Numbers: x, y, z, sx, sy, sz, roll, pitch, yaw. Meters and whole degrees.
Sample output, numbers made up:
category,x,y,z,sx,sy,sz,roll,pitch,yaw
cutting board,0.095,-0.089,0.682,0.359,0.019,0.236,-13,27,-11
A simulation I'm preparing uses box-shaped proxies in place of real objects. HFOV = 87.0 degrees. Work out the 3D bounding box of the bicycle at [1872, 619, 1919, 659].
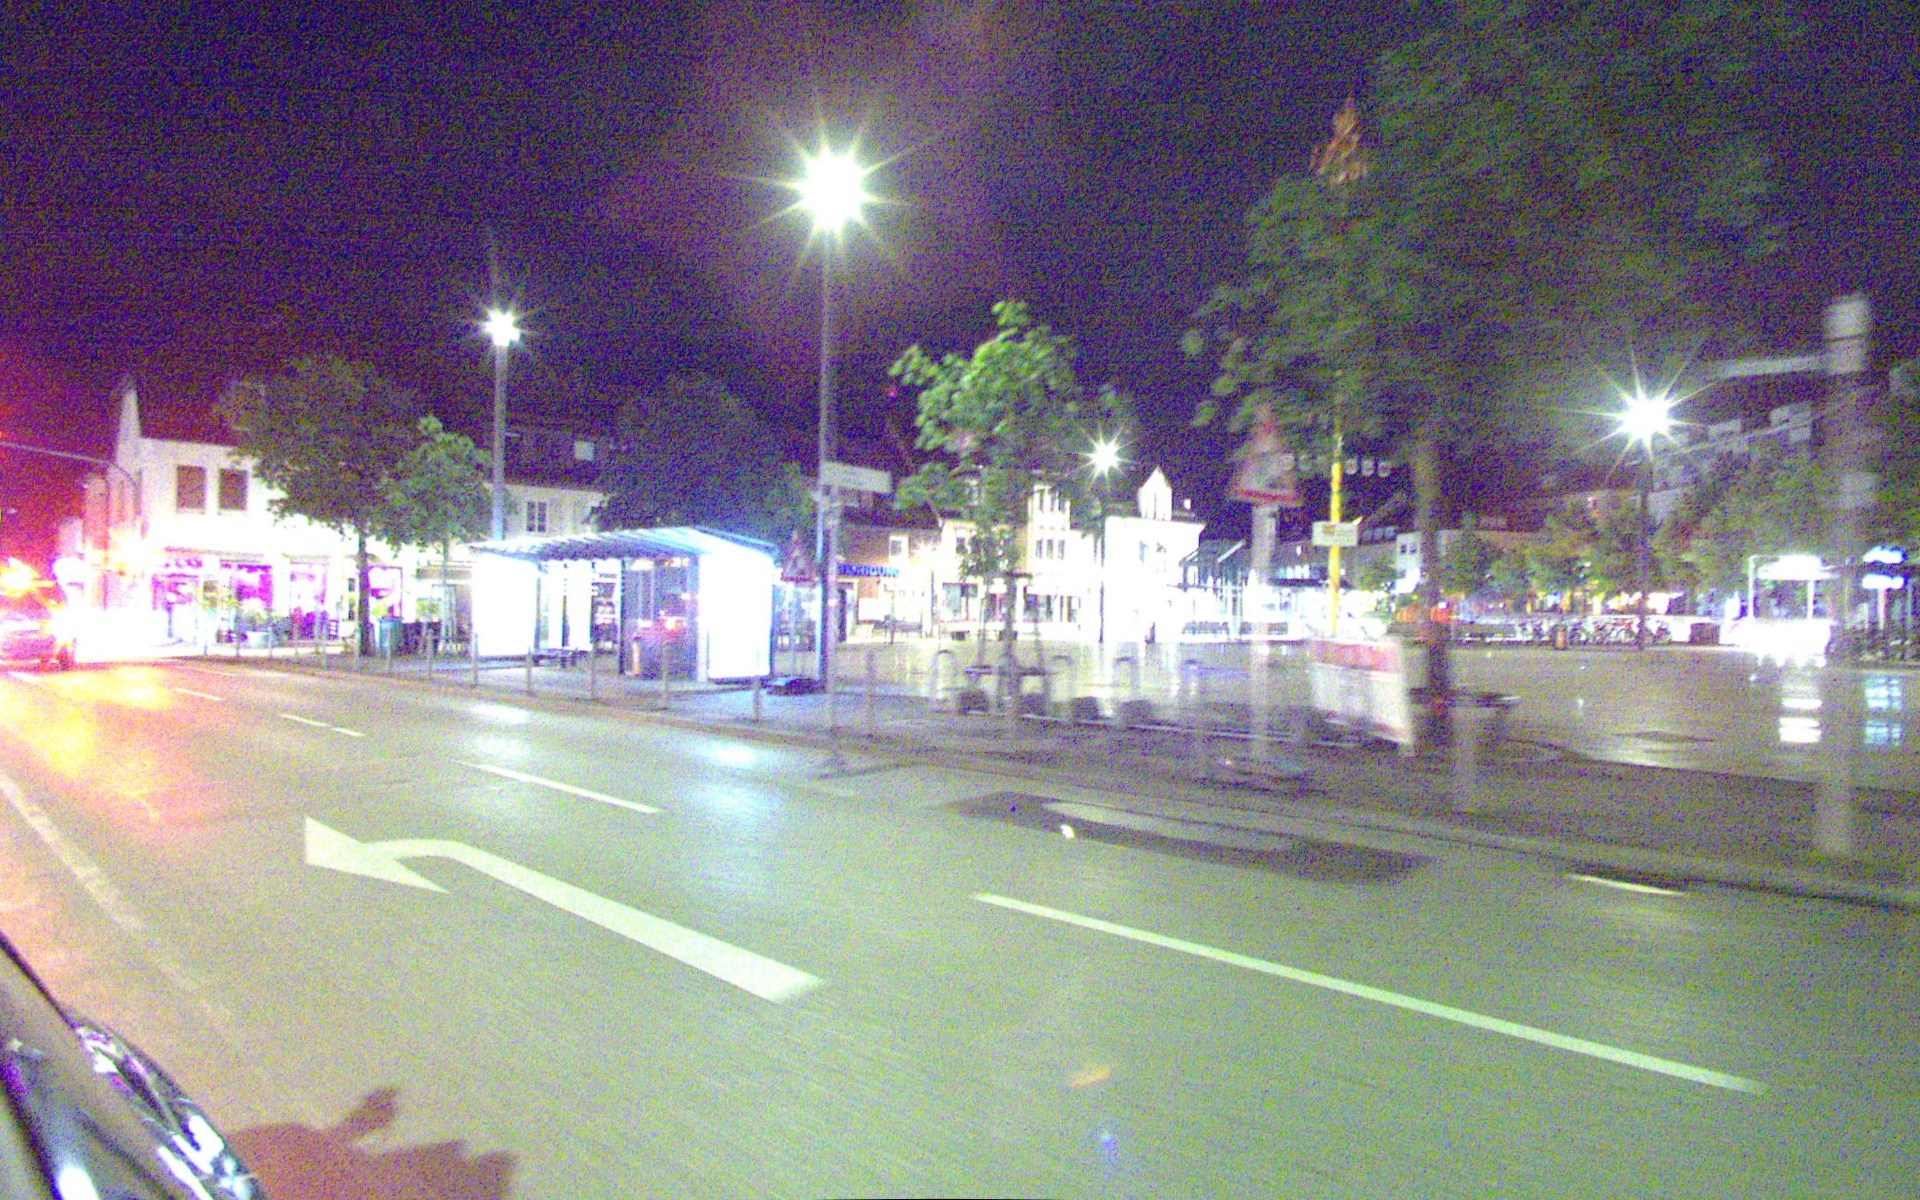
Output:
category,x,y,z,sx,sy,sz,roll,pitch,yaw
bicycle,24.001,0.974,25.442,1.525,0.965,0.476,0,0,26

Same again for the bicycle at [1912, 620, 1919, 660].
category,x,y,z,sx,sy,sz,roll,pitch,yaw
bicycle,24.108,0.977,24.464,1.525,0.965,0.476,0,0,26

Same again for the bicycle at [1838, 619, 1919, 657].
category,x,y,z,sx,sy,sz,roll,pitch,yaw
bicycle,24.192,0.983,26.665,1.525,0.965,0.476,0,0,26

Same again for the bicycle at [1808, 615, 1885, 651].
category,x,y,z,sx,sy,sz,roll,pitch,yaw
bicycle,24.816,0.924,28.354,1.525,0.965,0.476,0,0,26

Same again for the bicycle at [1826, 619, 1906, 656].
category,x,y,z,sx,sy,sz,roll,pitch,yaw
bicycle,24.531,1.002,27.426,1.525,0.965,0.476,0,0,26

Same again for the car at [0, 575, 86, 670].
category,x,y,z,sx,sy,sz,roll,pitch,yaw
car,-20.796,0.465,21.936,4.907,1.886,1.947,0,-1,39
